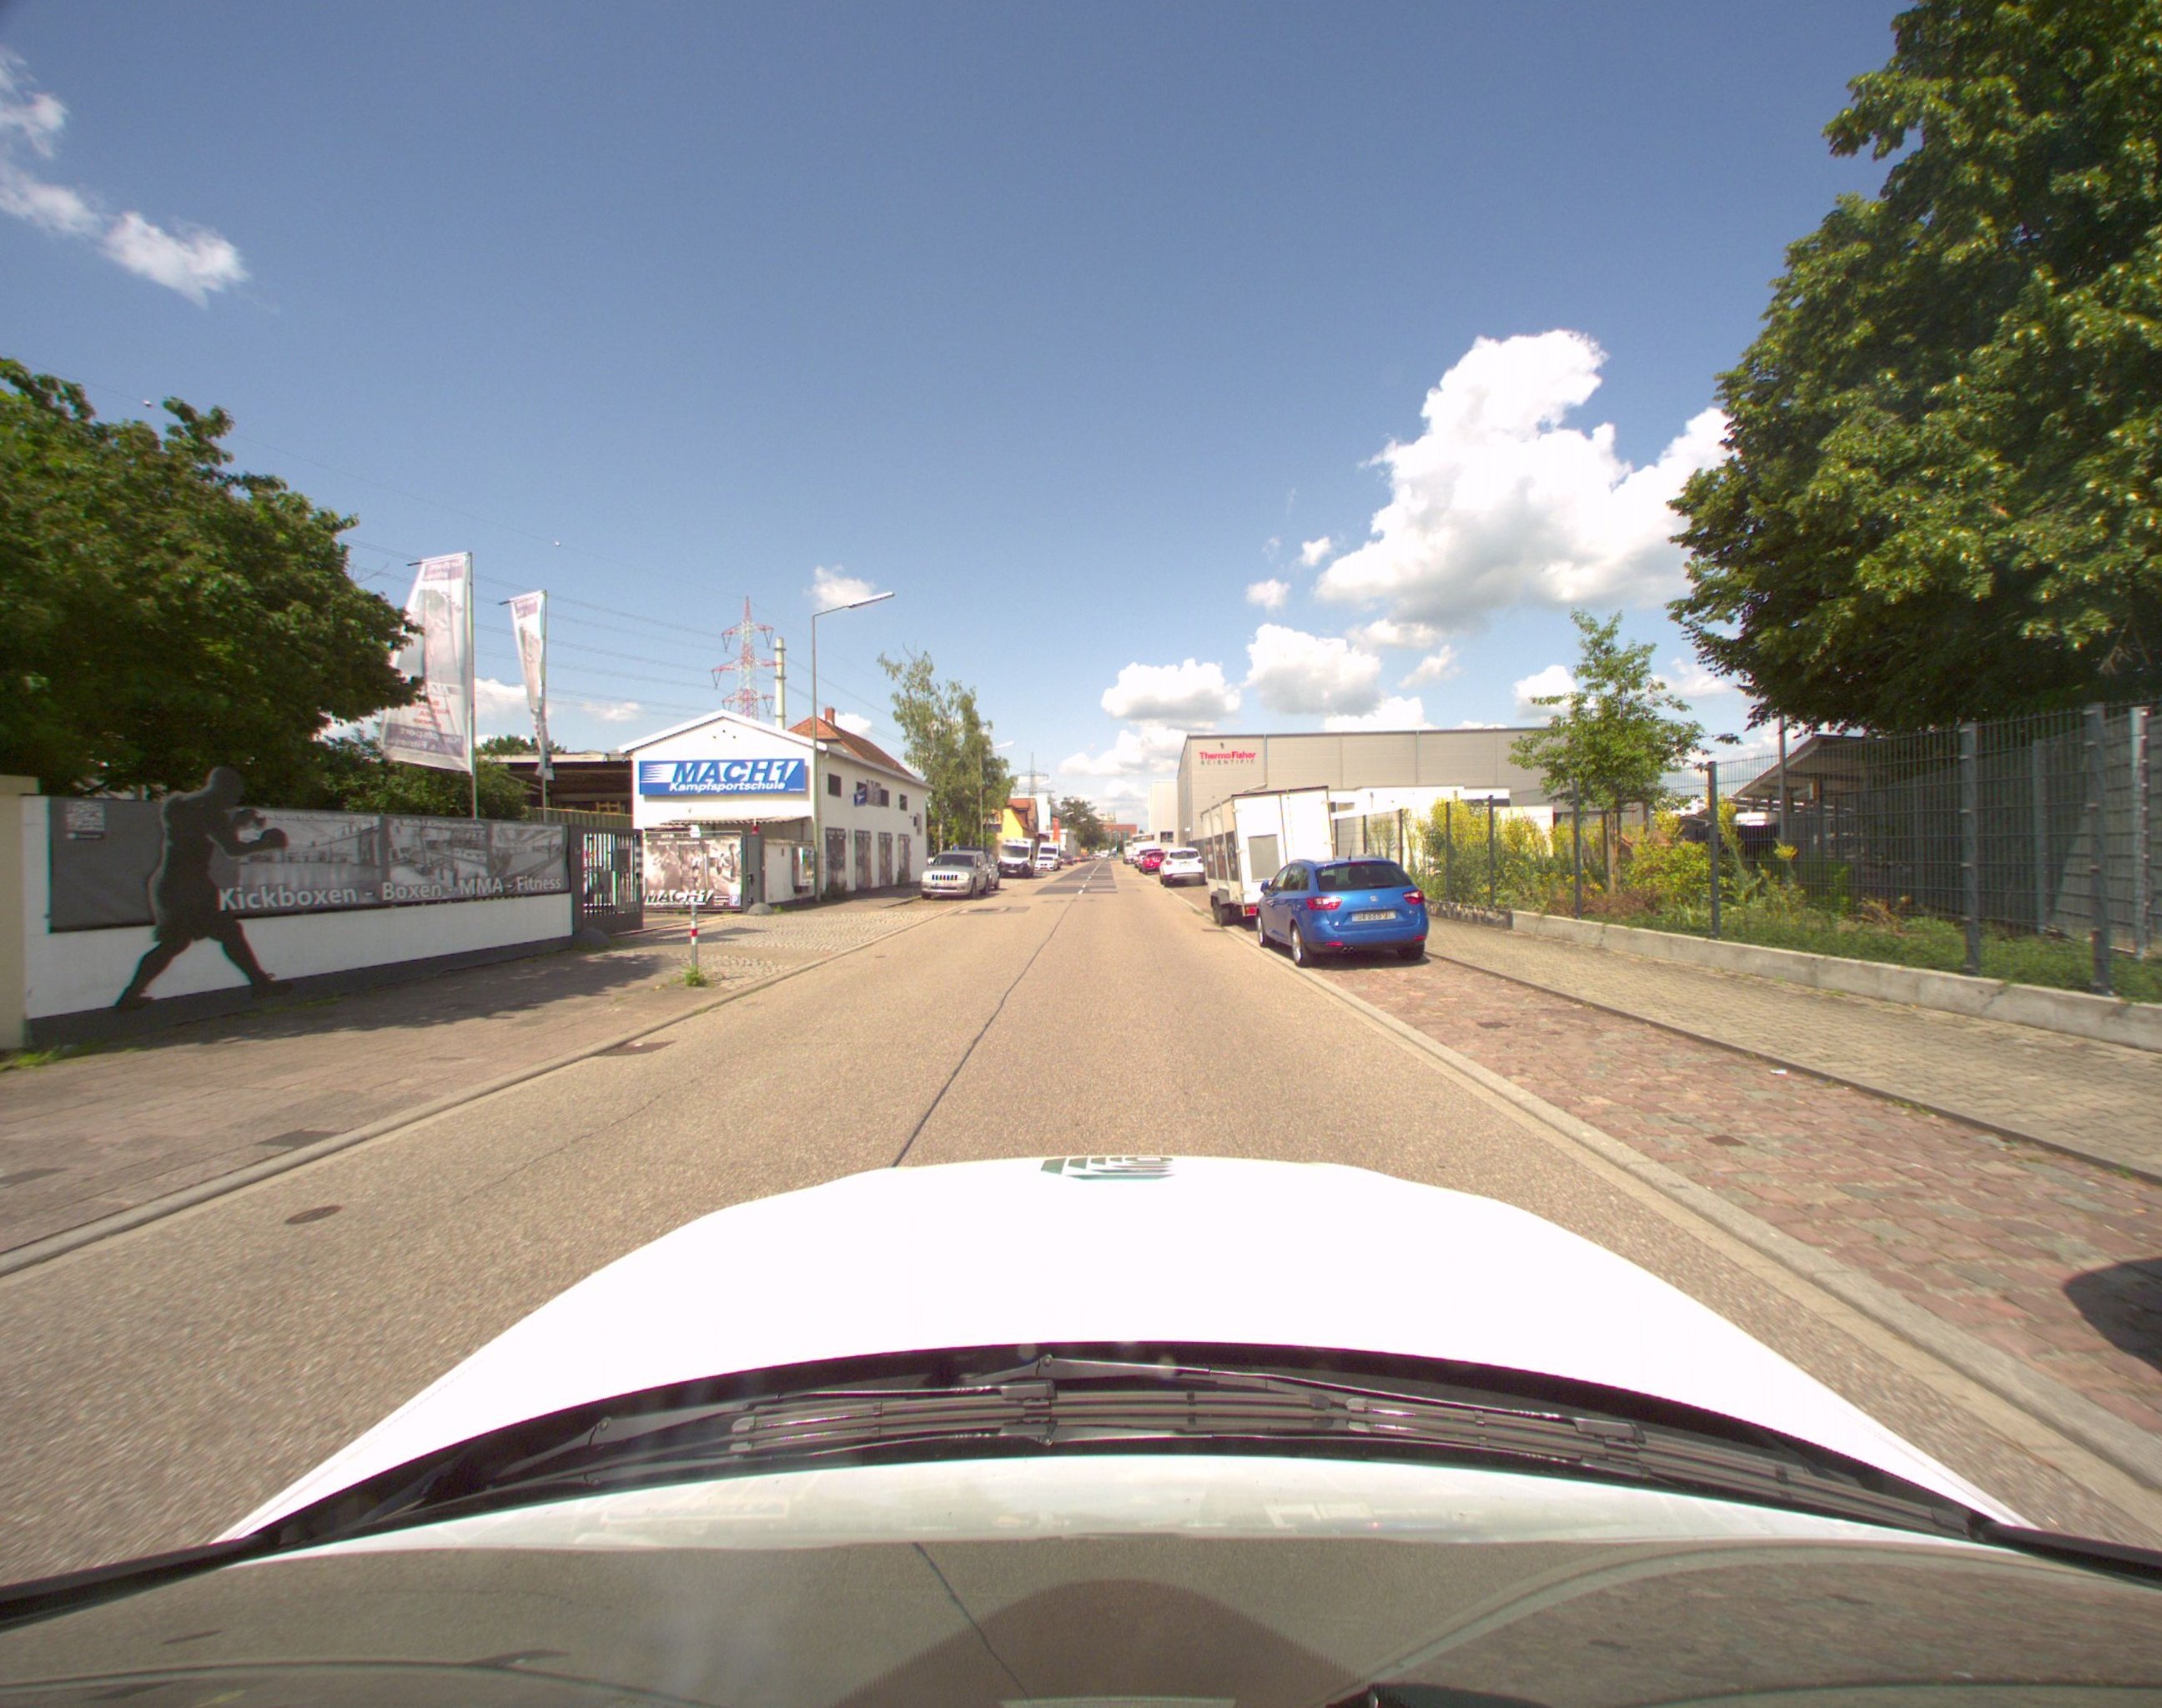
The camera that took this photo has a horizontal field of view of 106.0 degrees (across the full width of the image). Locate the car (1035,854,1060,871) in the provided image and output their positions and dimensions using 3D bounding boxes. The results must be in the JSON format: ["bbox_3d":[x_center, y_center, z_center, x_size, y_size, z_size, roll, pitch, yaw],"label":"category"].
[{"bbox_3d":[-2.969,0.763,72.543,1.788,1.397,4.505,1,-1,3],"label":"car"}]

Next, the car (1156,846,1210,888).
[{"bbox_3d":[4.586,0.549,37.213,1.928,1.693,4.681,-3,0,2],"label":"car"}]

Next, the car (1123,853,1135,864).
[{"bbox_3d":[7.330,0.684,124.928,1.761,1.612,3.876,-1,-1,3],"label":"car"}]

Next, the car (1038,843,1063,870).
[{"bbox_3d":[-2.898,0.245,79.818,2.019,2.561,6.840,1,-1,1],"label":"car"}]

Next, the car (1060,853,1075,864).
[{"bbox_3d":[-1.854,0.664,111.308,1.755,1.447,4.743,1,-1,2],"label":"car"}]

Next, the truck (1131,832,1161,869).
[{"bbox_3d":[6.395,-0.350,81.306,2.449,3.293,6.821,-5,-1,2],"label":"truck"}]

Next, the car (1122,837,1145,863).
[{"bbox_3d":[7.225,-0.521,112.431,2.381,3.363,6.642,-3,0,-1],"label":"car"}]

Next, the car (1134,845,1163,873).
[{"bbox_3d":[5.245,0.368,63.806,2.045,1.903,5.151,-4,0,3],"label":"car"}]

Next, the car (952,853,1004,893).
[{"bbox_3d":[-4.376,0.766,35.045,1.602,1.574,3.012,3,0,4],"label":"car"}]

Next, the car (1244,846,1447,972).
[{"bbox_3d":[3.670,0.702,12.094,1.684,1.461,4.071,-3,-1,1],"label":"car"}]

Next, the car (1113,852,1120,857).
[{"bbox_3d":[10.518,0.196,239.291,1.909,1.285,3.619,-1,0,4],"label":"car"}]

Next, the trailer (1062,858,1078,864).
[{"bbox_3d":[-1.736,1.175,130.178,2.353,0.893,5.571,1,0,2],"label":"trailer"}]

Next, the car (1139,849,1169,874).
[{"bbox_3d":[5.086,0.532,56.917,1.698,1.624,4.093,-4,-1,1],"label":"car"}]

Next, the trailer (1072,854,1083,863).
[{"bbox_3d":[-0.657,0.818,151.093,1.986,1.556,4.255,0,0,2],"label":"trailer"}]

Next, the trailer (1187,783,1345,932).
[{"bbox_3d":[3.961,0.088,18.789,2.196,2.737,6.223,-4,-1,1],"label":"trailer"}]

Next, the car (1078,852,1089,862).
[{"bbox_3d":[0.510,0.657,166.744,1.984,2.014,4.005,1,-1,4],"label":"car"}]

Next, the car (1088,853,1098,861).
[{"bbox_3d":[2.814,0.677,190.178,1.913,1.794,4.005,1,-1,4],"label":"car"}]

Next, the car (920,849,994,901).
[{"bbox_3d":[-4.479,0.717,30.080,1.784,1.719,4.753,2,0,2],"label":"car"}]

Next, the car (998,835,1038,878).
[{"bbox_3d":[-4.006,0.161,52.807,2.023,2.557,6.656,1,-1,0],"label":"car"}]
